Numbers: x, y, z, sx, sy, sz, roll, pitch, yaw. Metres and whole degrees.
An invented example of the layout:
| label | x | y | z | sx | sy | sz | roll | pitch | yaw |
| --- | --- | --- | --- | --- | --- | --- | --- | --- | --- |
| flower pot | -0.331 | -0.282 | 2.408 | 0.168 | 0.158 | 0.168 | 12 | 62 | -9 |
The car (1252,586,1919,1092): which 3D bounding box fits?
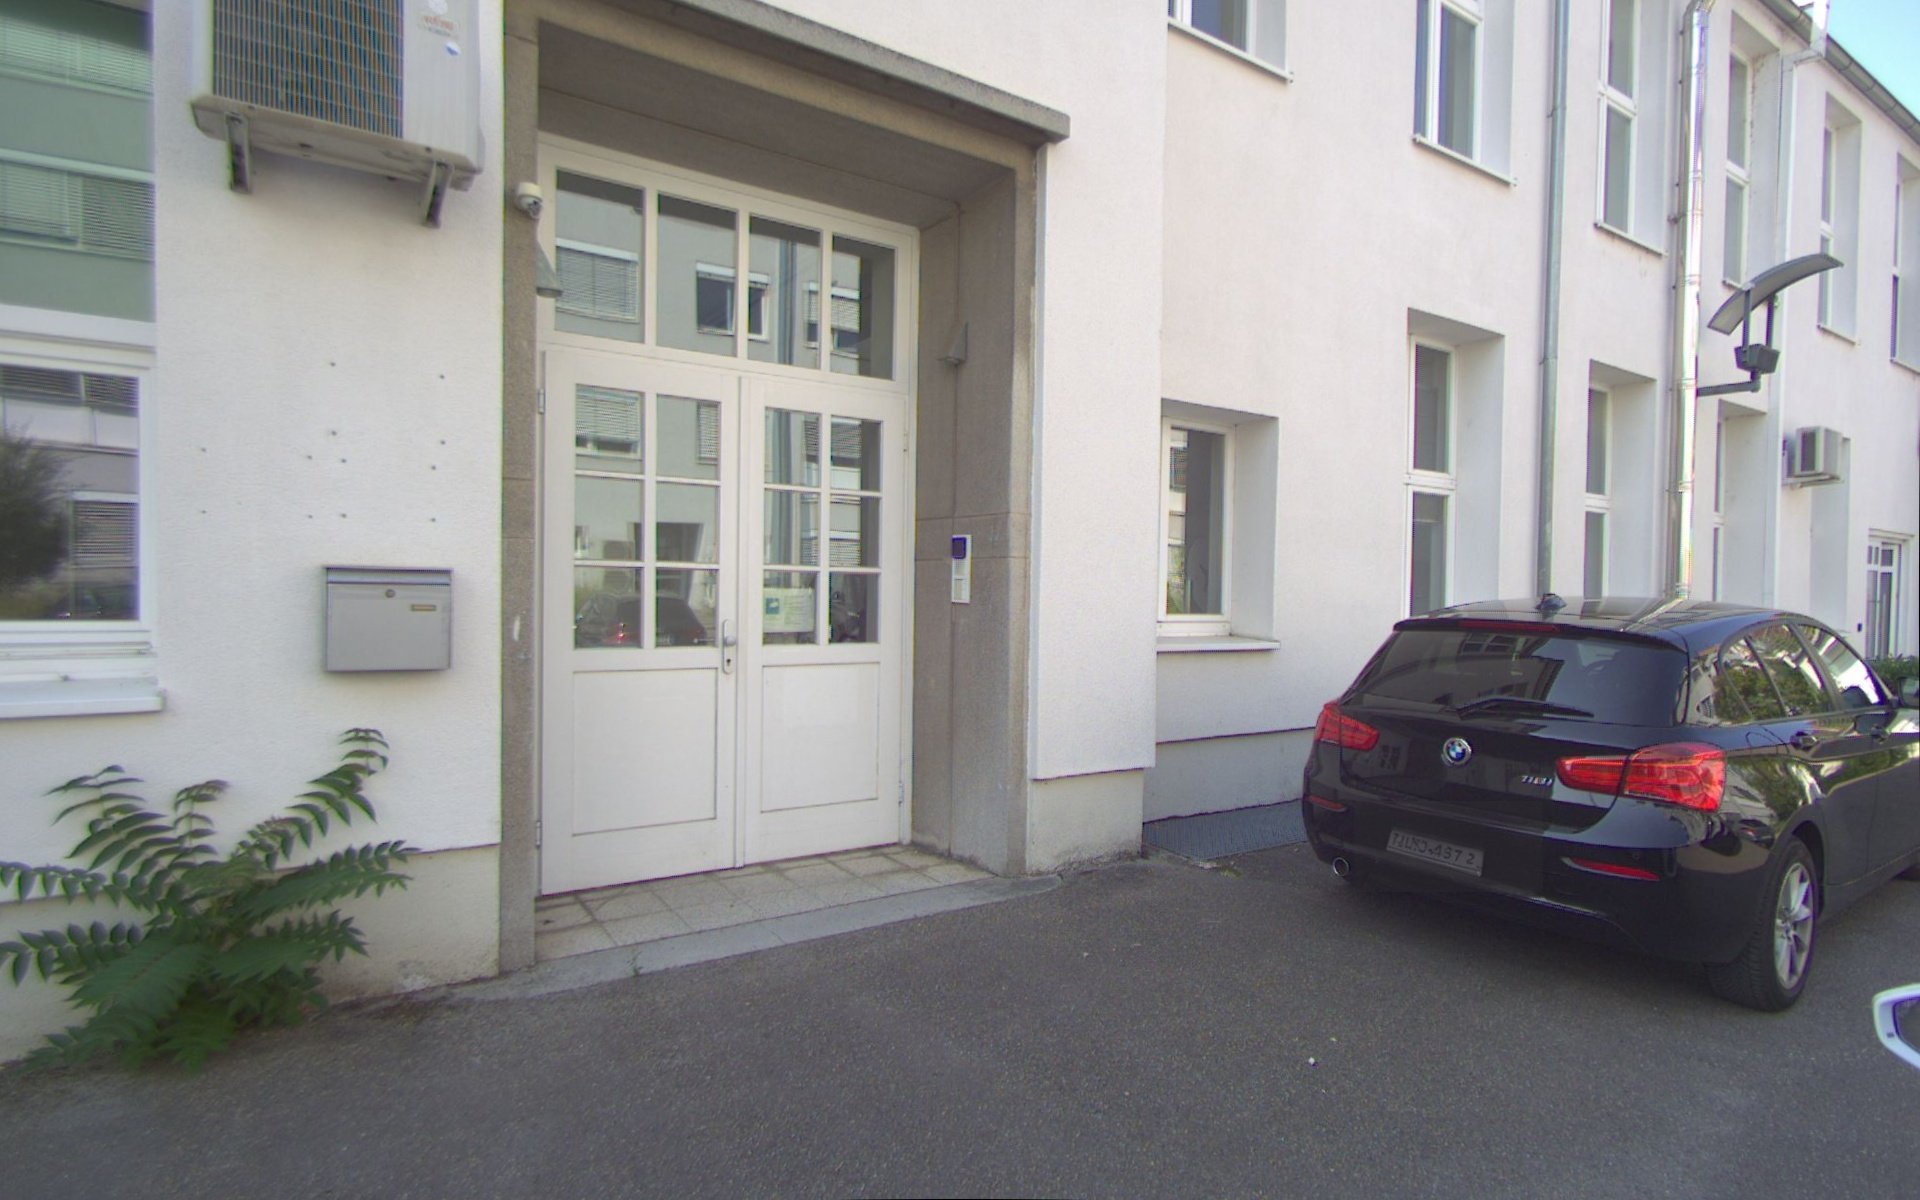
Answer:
| label | x | y | z | sx | sy | sz | roll | pitch | yaw |
| --- | --- | --- | --- | --- | --- | --- | --- | --- | --- |
| car | 3.338 | 0.731 | 4.781 | 3.884 | 1.478 | 1.677 | 1 | 1 | -35 |
